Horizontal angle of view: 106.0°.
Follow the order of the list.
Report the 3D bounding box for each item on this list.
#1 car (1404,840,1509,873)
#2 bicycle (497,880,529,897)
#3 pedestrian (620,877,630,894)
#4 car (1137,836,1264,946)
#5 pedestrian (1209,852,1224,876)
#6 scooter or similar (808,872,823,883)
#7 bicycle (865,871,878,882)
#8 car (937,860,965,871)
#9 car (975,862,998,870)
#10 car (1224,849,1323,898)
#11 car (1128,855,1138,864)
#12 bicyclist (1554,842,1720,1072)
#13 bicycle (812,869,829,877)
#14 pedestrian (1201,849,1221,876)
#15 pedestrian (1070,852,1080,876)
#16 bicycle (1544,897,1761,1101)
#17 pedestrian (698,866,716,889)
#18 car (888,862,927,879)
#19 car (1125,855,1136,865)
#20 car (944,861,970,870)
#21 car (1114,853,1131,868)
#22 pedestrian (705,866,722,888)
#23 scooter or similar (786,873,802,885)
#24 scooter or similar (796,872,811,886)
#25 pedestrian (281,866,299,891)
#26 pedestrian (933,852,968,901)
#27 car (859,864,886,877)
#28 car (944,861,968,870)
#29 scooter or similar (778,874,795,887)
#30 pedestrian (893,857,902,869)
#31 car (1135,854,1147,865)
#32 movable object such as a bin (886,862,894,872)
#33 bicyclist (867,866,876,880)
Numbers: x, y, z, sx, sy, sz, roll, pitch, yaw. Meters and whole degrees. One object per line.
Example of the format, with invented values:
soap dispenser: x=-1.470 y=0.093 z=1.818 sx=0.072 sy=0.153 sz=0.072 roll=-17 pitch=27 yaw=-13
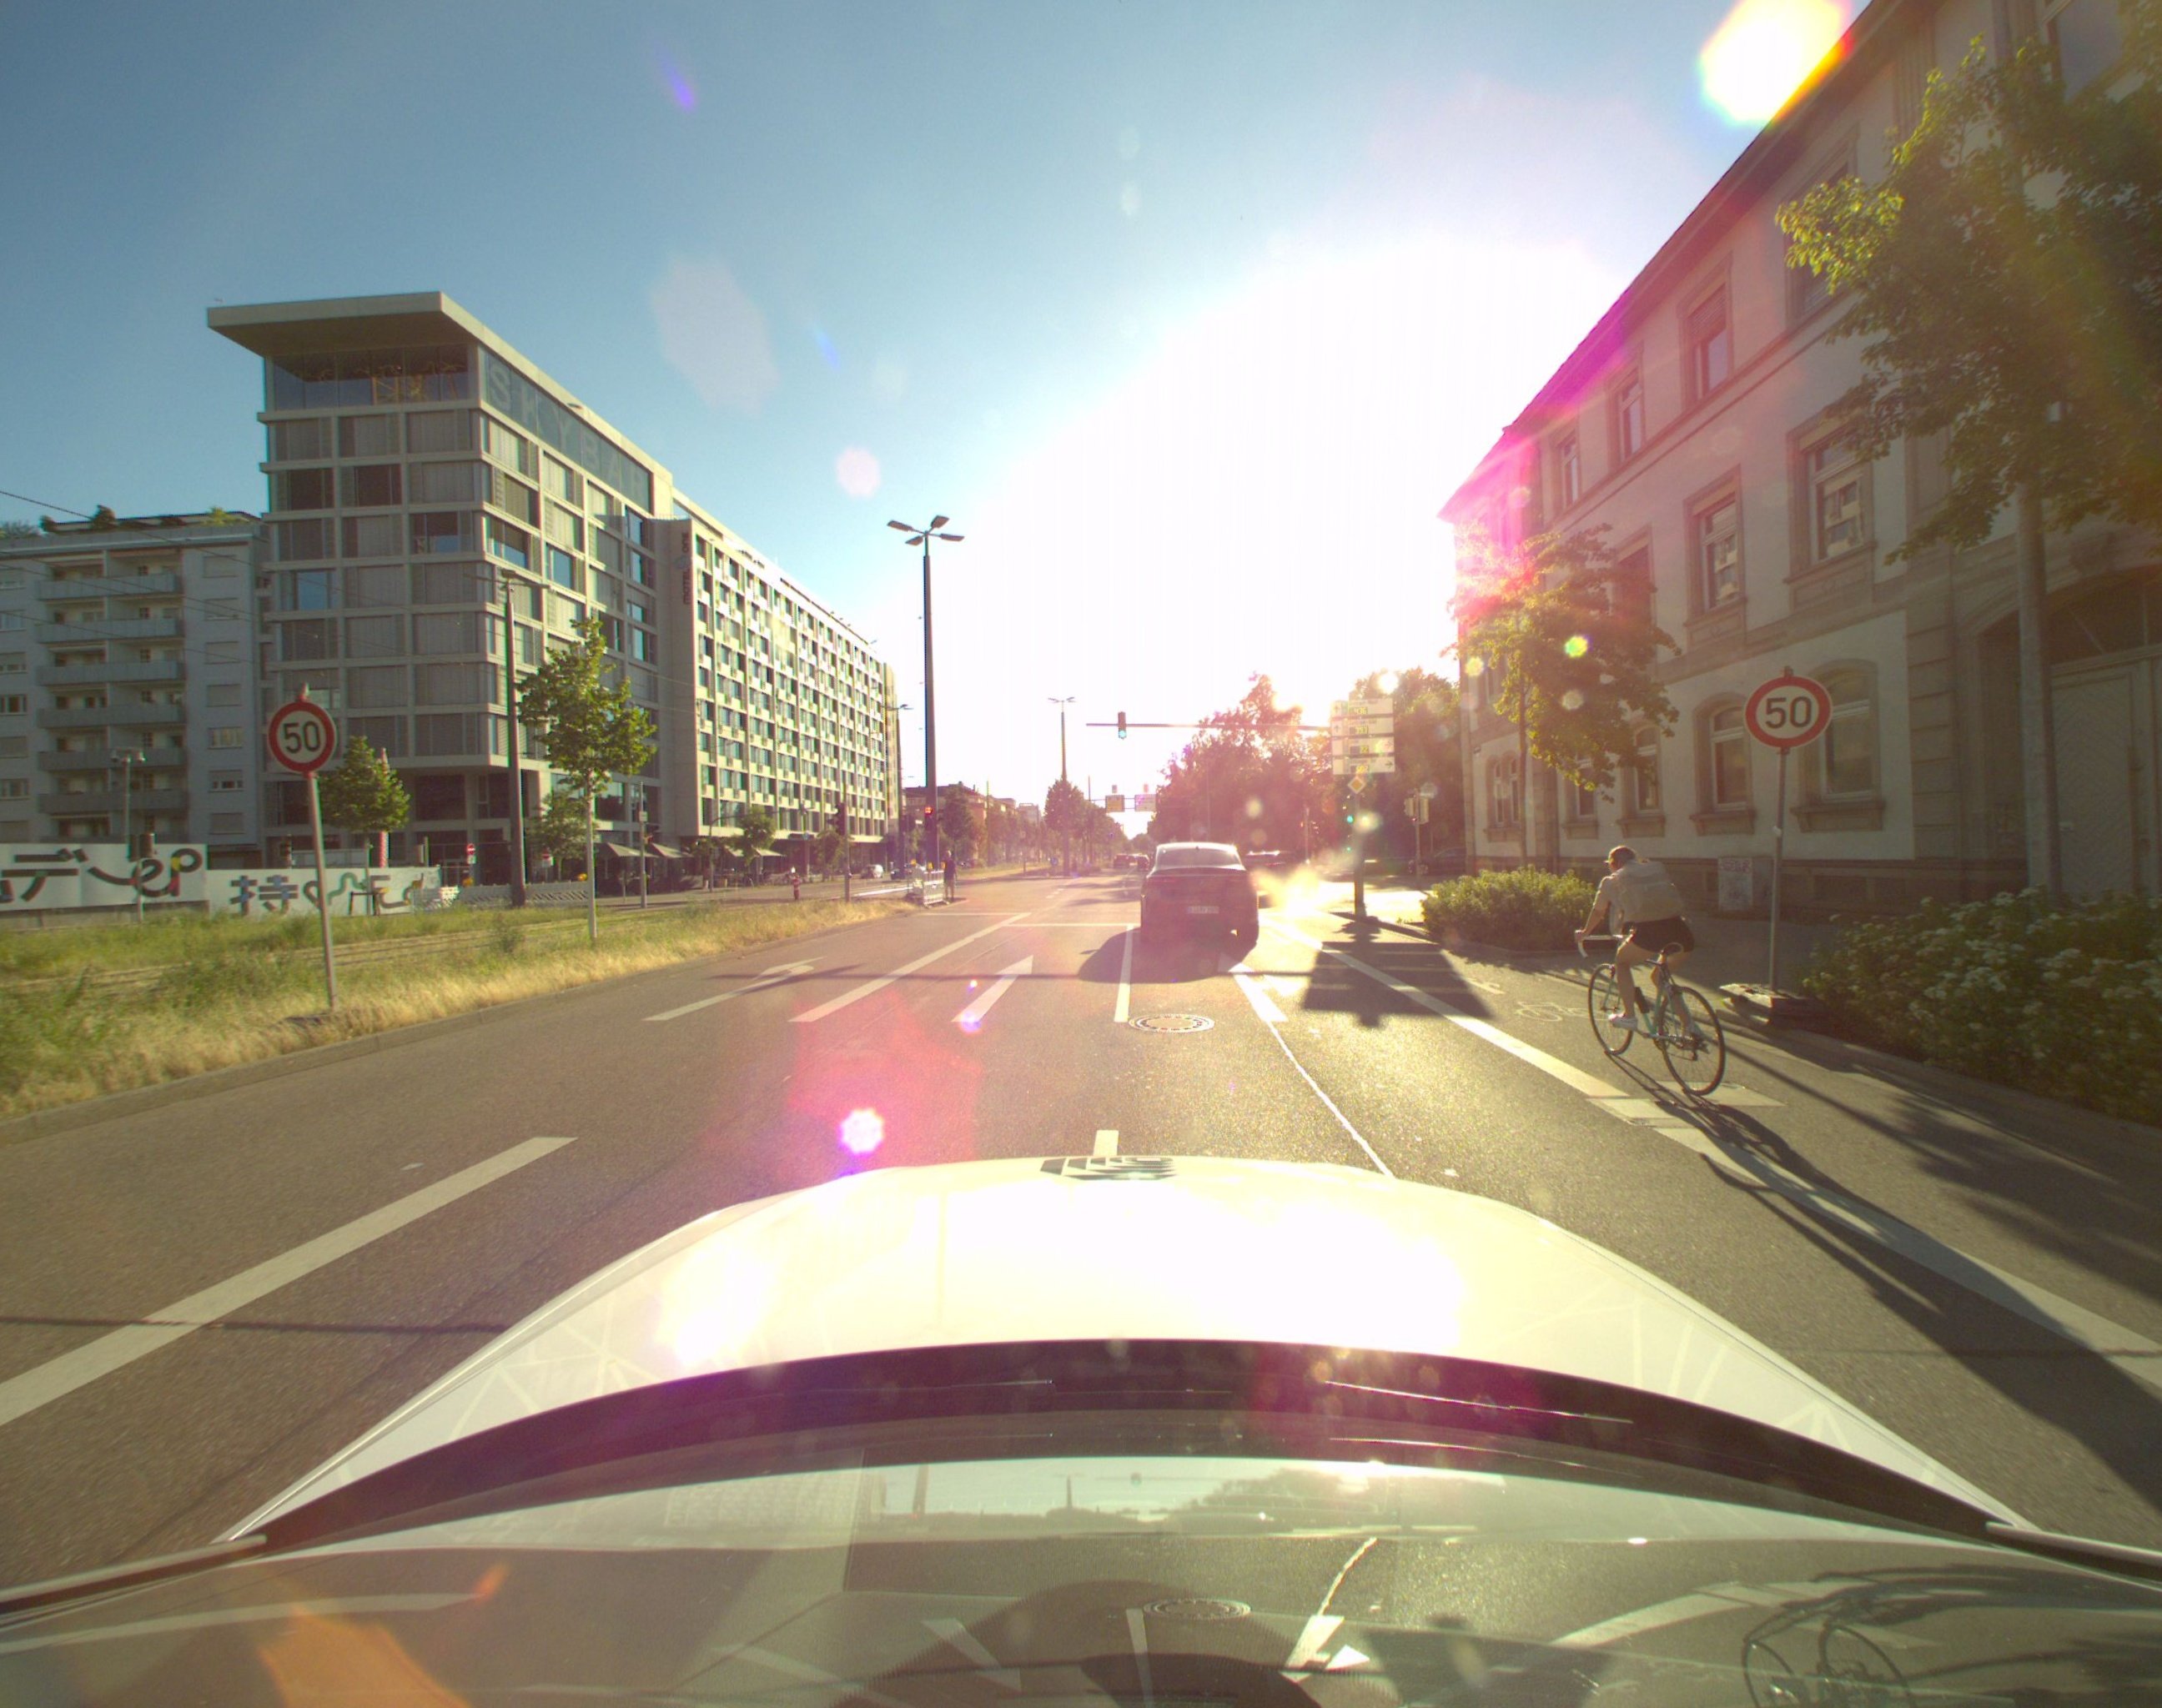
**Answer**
car: x=18.592 y=0.150 z=40.347 sx=4.543 sy=1.474 sz=1.915 roll=-2 pitch=-1 yaw=29
bicycle: x=-36.121 y=2.180 z=51.800 sx=0.533 sy=0.936 sz=1.903 roll=-2 pitch=0 yaw=4
pedestrian: x=-34.235 y=2.367 z=61.152 sx=0.429 sy=1.222 sz=0.498 roll=-2 pitch=0 yaw=5
car: x=2.111 y=0.569 z=15.015 sx=1.983 sy=1.734 sz=4.007 roll=-1 pitch=1 yaw=6
pedestrian: x=9.353 y=0.672 z=56.368 sx=0.765 sy=1.636 sz=0.768 roll=-4 pitch=0 yaw=-5
scooter or similar: x=-24.944 y=2.221 z=76.499 sx=1.237 sy=1.019 sz=0.435 roll=-2 pitch=0 yaw=5
bicycle: x=-21.817 y=2.331 z=85.010 sx=0.622 sy=1.067 sz=2.081 roll=-2 pitch=0 yaw=5
car: x=-20.943 y=1.871 z=131.205 sx=4.114 sy=1.601 sz=1.731 roll=1 pitch=0 yaw=-37
car: x=-18.535 y=2.303 z=159.213 sx=4.019 sy=1.563 sz=1.977 roll=0 pitch=0 yaw=-38
car: x=6.742 y=0.644 z=28.266 sx=1.878 sy=1.527 sz=4.085 roll=-1 pitch=0 yaw=36
car: x=9.868 y=1.039 z=154.125 sx=1.877 sy=1.580 sz=4.004 roll=-1 pitch=1 yaw=4
bicyclist: x=3.928 y=0.668 z=5.842 sx=0.549 sy=1.491 sz=1.084 roll=-2 pitch=0 yaw=10
bicycle: x=-30.841 y=2.208 z=96.490 sx=1.799 sy=0.905 sz=0.511 roll=-2 pitch=0 yaw=-2
pedestrian: x=9.147 y=0.605 z=57.319 sx=0.862 sy=1.802 sz=0.898 roll=-4 pitch=0 yaw=-30
pedestrian: x=-0.431 y=0.709 z=58.640 sx=0.595 sy=1.699 sz=0.716 roll=-2 pitch=0 yaw=10
bicycle: x=3.952 y=0.922 z=5.811 sx=0.517 sy=1.097 sz=1.848 roll=-2 pitch=0 yaw=10
pedestrian: x=-29.579 y=1.848 z=64.408 sx=0.863 sy=1.721 sz=0.806 roll=-2 pitch=0 yaw=14
car: x=-14.839 y=1.385 z=69.927 sx=1.882 sy=1.343 sz=4.856 roll=-2 pitch=0 yaw=4
car: x=8.566 y=0.964 z=140.039 sx=1.877 sy=1.580 sz=4.004 roll=-1 pitch=1 yaw=4
car: x=-20.859 y=1.963 z=137.315 sx=4.023 sy=1.453 sz=1.765 roll=0 pitch=0 yaw=-44
car: x=4.827 y=0.734 z=95.114 sx=1.877 sy=1.580 sz=4.004 roll=-1 pitch=1 yaw=4
pedestrian: x=-29.437 y=1.847 z=65.195 sx=0.863 sy=1.721 sz=0.806 roll=-2 pitch=0 yaw=14
scooter or similar: x=-25.394 y=2.224 z=71.969 sx=1.237 sy=1.019 sz=0.435 roll=-2 pitch=0 yaw=5
scooter or similar: x=-25.193 y=2.252 z=73.986 sx=1.237 sy=1.172 sz=0.406 roll=-2 pitch=0 yaw=5
pedestrian: x=-49.423 y=1.534 z=50.888 sx=0.583 sy=1.498 sz=0.578 roll=-2 pitch=0 yaw=8
pedestrian: x=-4.471 y=0.754 z=27.918 sx=0.917 sy=1.649 sz=0.768 roll=-2 pitch=-1 yaw=16
car: x=-23.508 y=1.818 z=91.980 sx=1.748 sy=1.328 sz=4.005 roll=-1 pitch=0 yaw=5
car: x=-20.680 y=1.892 z=134.738 sx=3.642 sy=1.523 sz=1.603 roll=1 pitch=-1 yaw=-37
scooter or similar: x=-25.492 y=2.293 z=70.443 sx=1.237 sy=1.019 sz=0.511 roll=-2 pitch=0 yaw=5
pedestrian: x=-26.462 y=1.255 z=117.520 sx=0.839 sy=1.653 sz=0.971 roll=-2 pitch=0 yaw=6
car: x=9.654 y=0.907 z=130.881 sx=1.877 sy=1.580 sz=4.004 roll=-1 pitch=1 yaw=4
movable object such as a bin: x=-28.505 y=1.872 z=121.557 sx=0.796 sy=1.440 sz=1.405 roll=-2 pitch=0 yaw=5
bicyclist: x=-21.829 y=1.954 z=85.031 sx=0.622 sy=1.465 sz=0.852 roll=-2 pitch=0 yaw=5
